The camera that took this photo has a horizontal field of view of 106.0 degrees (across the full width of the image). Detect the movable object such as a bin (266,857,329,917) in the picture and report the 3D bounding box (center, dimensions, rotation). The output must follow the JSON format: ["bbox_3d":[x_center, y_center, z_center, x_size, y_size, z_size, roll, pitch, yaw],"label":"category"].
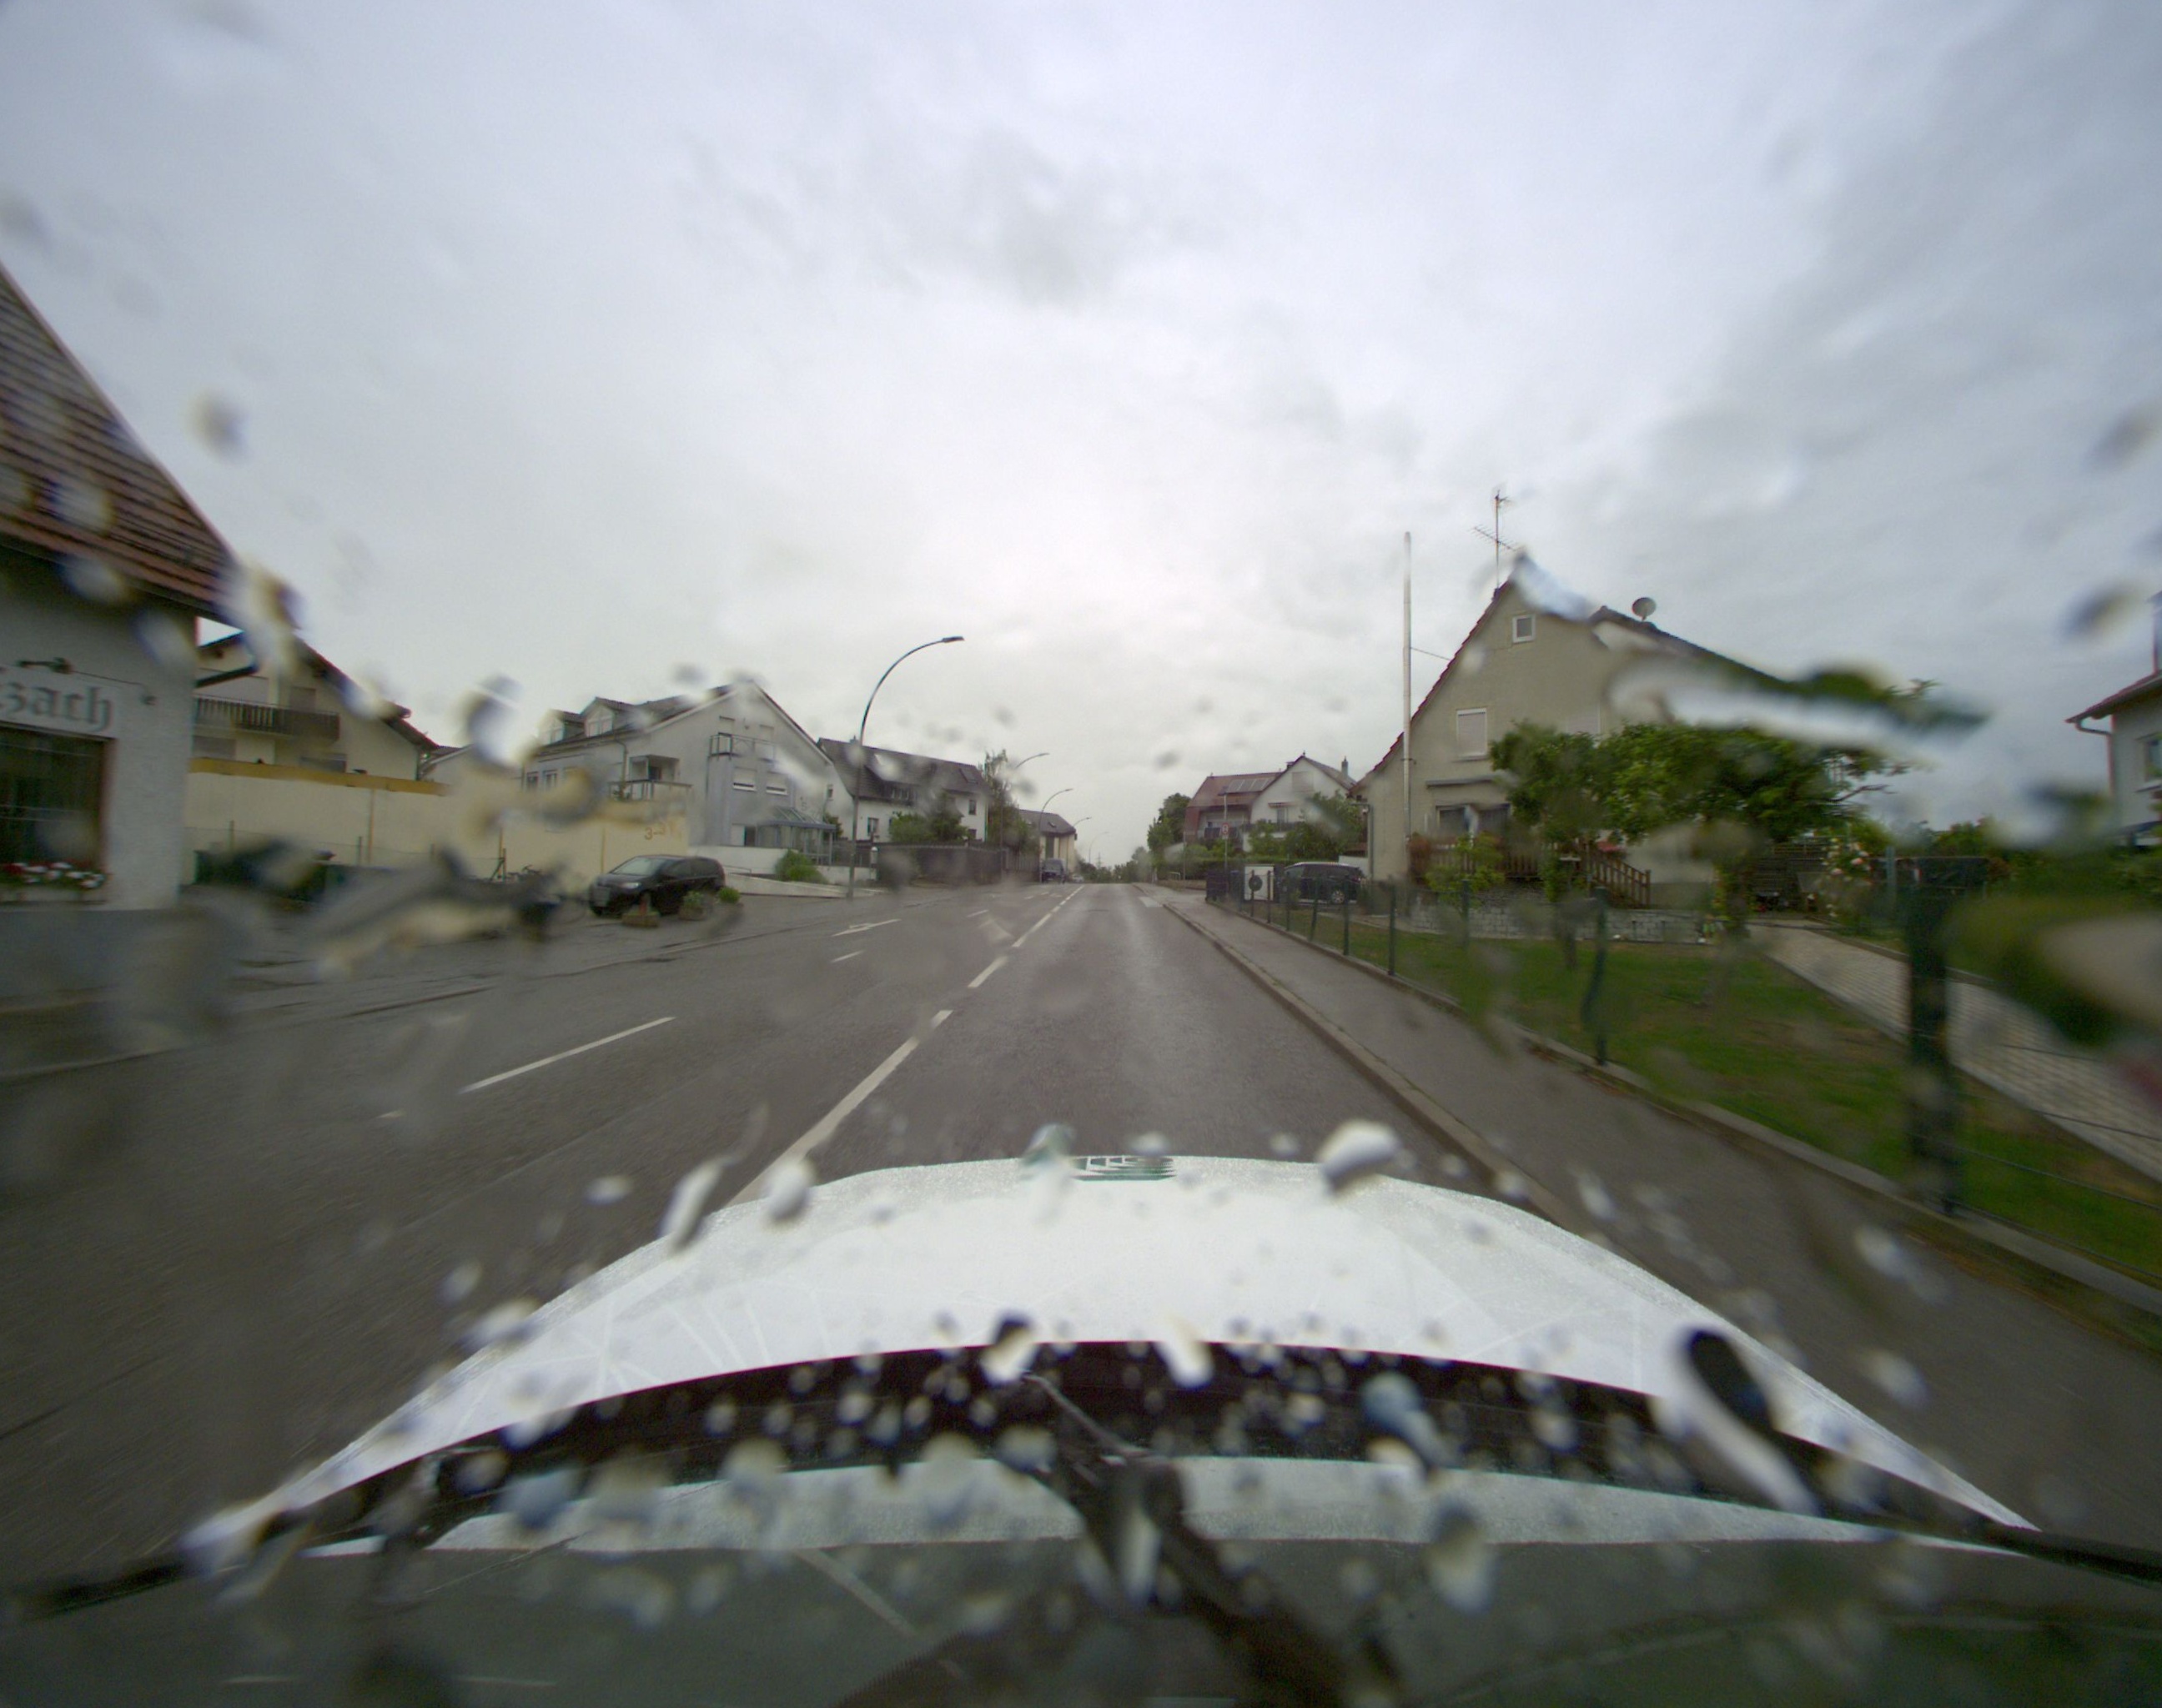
[{"bbox_3d":[-16.069,0.673,16.710,0.633,1.130,0.607,7,2,15],"label":"movable object such as a bin"}]

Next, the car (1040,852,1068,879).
[{"bbox_3d":[-2.773,1.219,85.204,2.084,2.649,5.925,2,-2,5],"label":"car"}]

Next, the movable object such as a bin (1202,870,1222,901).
[{"bbox_3d":[4.460,1.068,27.677,0.525,1.021,0.737,-1,-1,21],"label":"movable object such as a bin"}]

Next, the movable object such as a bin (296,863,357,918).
[{"bbox_3d":[-15.322,0.727,16.547,0.633,1.032,0.607,5,1,15],"label":"movable object such as a bin"}]

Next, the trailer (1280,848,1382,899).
[{"bbox_3d":[10.021,0.751,32.724,3.419,1.798,1.698,3,0,39],"label":"trailer"}]

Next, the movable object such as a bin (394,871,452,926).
[{"bbox_3d":[-12.806,0.858,15.862,0.633,1.032,0.607,-1,-1,15],"label":"movable object such as a bin"}]

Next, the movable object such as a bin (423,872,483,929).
[{"bbox_3d":[-12.129,0.887,15.737,0.633,1.032,0.607,4,1,15],"label":"movable object such as a bin"}]

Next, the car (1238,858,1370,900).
[{"bbox_3d":[8.230,0.928,30.039,4.519,1.384,2.010,-1,1,19],"label":"car"}]

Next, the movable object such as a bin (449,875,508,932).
[{"bbox_3d":[-11.292,0.915,15.275,0.633,1.032,0.607,-1,-1,15],"label":"movable object such as a bin"}]

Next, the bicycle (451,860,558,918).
[{"bbox_3d":[-12.625,0.754,17.830,2.081,1.114,0.740,3,-2,18],"label":"bicycle"}]

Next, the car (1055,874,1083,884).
[{"bbox_3d":[-2.032,4.212,137.263,1.883,1.477,4.912,1,-2,39],"label":"car"}]

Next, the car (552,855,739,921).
[{"bbox_3d":[-10.853,0.768,20.620,1.885,1.442,3.847,2,1,20],"label":"car"}]

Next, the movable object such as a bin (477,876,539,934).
[{"bbox_3d":[-10.602,0.939,15.080,0.633,1.032,0.676,-1,-1,15],"label":"movable object such as a bin"}]

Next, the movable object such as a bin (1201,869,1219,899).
[{"bbox_3d":[4.619,1.071,29.150,0.624,1.021,0.541,-1,-1,7],"label":"movable object such as a bin"}]

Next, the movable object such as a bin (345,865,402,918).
[{"bbox_3d":[-14.135,0.747,16.272,0.633,1.032,0.607,-1,-1,15],"label":"movable object such as a bin"}]

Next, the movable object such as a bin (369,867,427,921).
[{"bbox_3d":[-13.464,0.785,16.065,0.633,1.032,0.607,-1,-1,15],"label":"movable object such as a bin"}]

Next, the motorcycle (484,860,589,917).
[{"bbox_3d":[-12.386,0.783,18.537,2.093,1.114,0.784,4,-1,18],"label":"motorcycle"}]

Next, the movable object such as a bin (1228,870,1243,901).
[{"bbox_3d":[5.182,1.068,27.356,0.439,1.021,0.527,-1,-1,14],"label":"movable object such as a bin"}]

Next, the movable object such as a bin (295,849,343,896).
[{"bbox_3d":[-18.035,0.433,19.276,0.664,1.079,0.627,-1,-1,24],"label":"movable object such as a bin"}]
